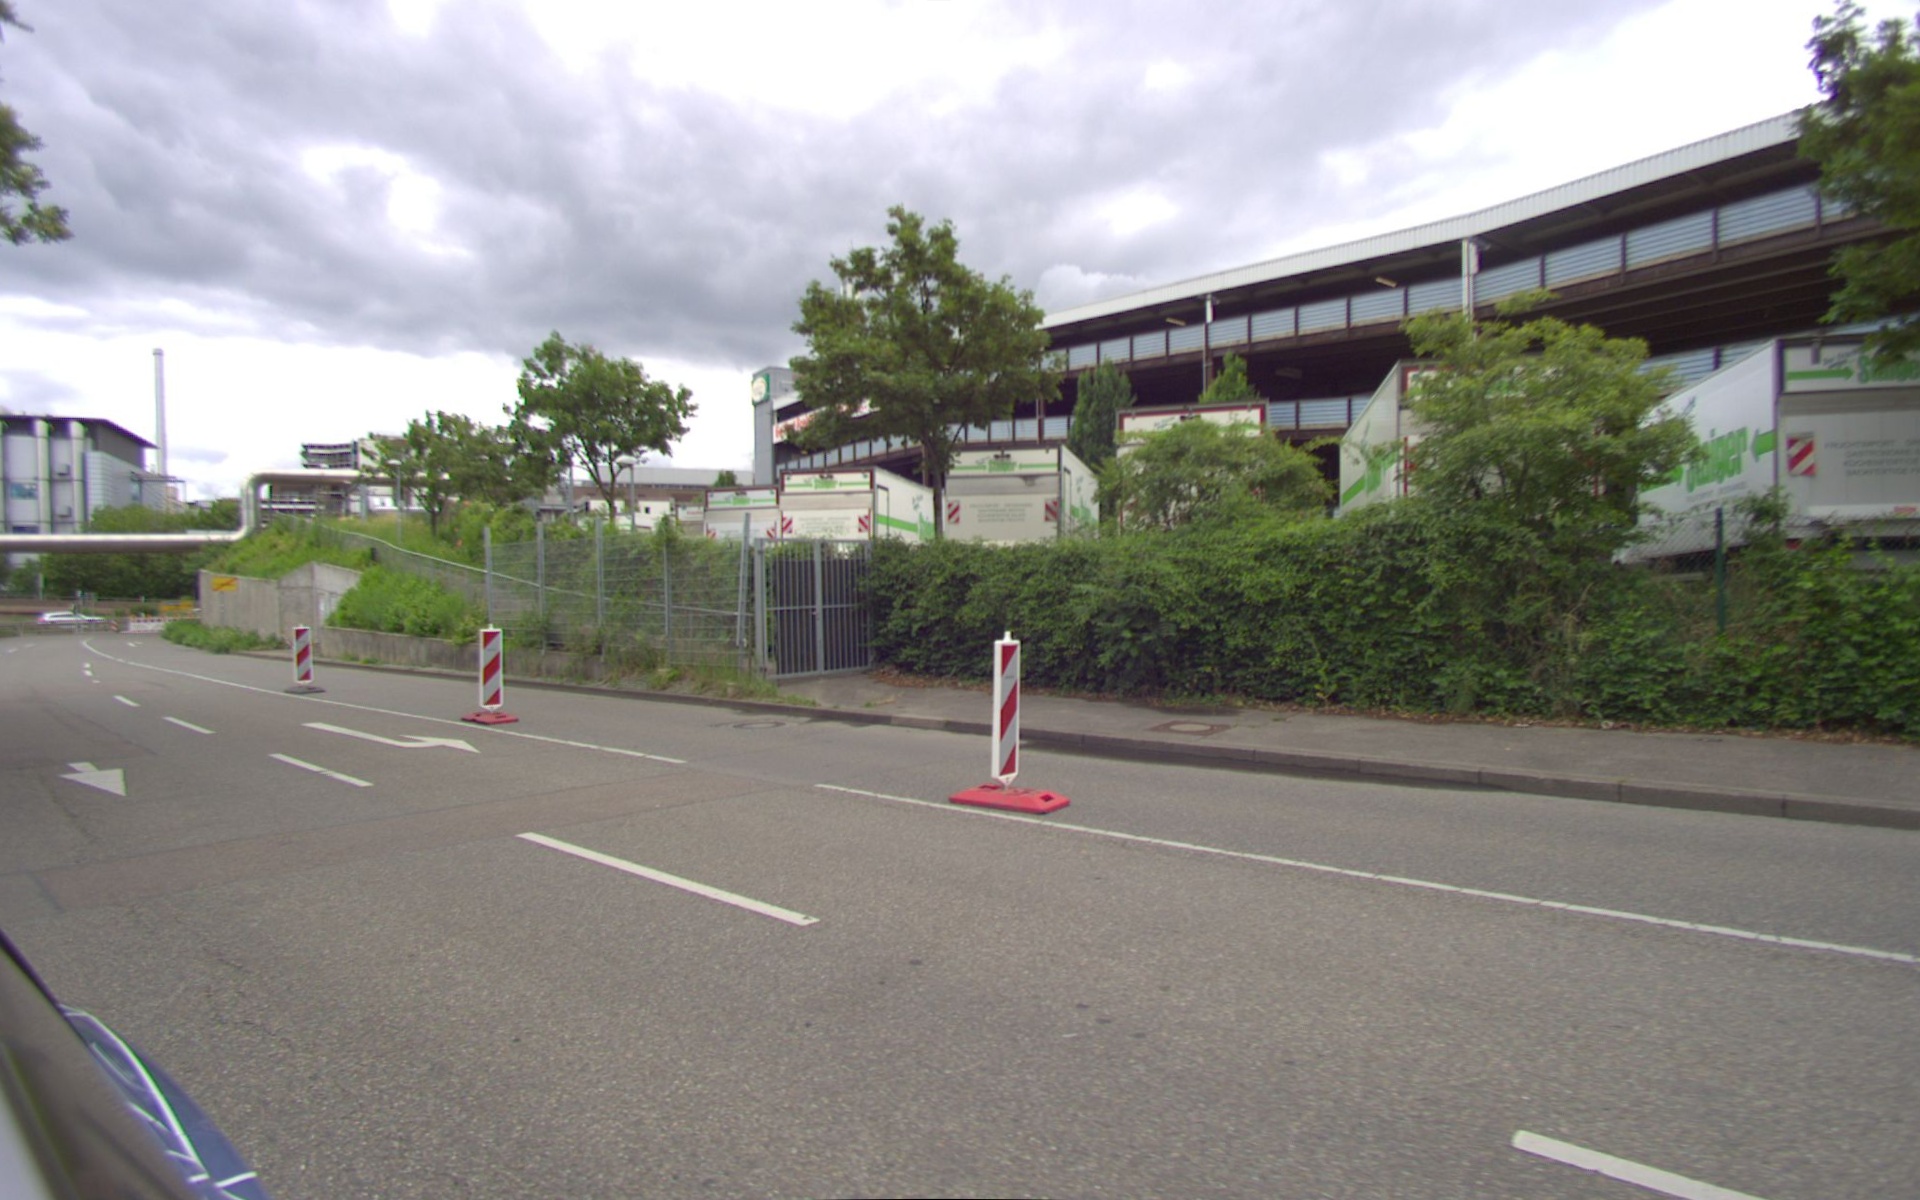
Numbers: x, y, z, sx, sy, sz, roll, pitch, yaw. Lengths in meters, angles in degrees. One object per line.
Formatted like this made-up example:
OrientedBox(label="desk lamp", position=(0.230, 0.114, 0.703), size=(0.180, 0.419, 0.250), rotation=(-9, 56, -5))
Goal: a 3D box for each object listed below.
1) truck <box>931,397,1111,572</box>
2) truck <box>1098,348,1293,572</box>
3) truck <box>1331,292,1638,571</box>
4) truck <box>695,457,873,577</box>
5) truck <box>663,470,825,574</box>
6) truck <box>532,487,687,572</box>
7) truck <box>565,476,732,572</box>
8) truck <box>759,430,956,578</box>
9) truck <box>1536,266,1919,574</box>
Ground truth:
OrientedBox(label="truck", position=(1.799, -2.492, 24.915), size=(3.023, 3.564, 7.832), rotation=(1, 2, 14))
OrientedBox(label="truck", position=(5.045, -2.351, 20.355), size=(3.028, 3.564, 7.818), rotation=(1, 2, 19))
OrientedBox(label="truck", position=(8.244, -2.281, 17.158), size=(3.025, 3.564, 7.826), rotation=(1, 2, 16))
OrientedBox(label="truck", position=(-5.648, -2.583, 34.162), size=(3.023, 3.564, 7.832), rotation=(1, 2, 14))
OrientedBox(label="truck", position=(-8.049, -2.819, 38.997), size=(3.023, 3.564, 7.832), rotation=(1, 2, 14))
OrientedBox(label="truck", position=(-15.912, -3.086, 46.715), size=(3.023, 3.564, 7.832), rotation=(1, 2, 14))
OrientedBox(label="truck", position=(-12.621, -2.954, 41.875), size=(3.023, 3.564, 7.832), rotation=(1, 2, 14))
OrientedBox(label="truck", position=(-2.571, -2.444, 28.735), size=(3.023, 3.564, 8.119), rotation=(1, 2, 14))
OrientedBox(label="truck", position=(11.150, -2.027, 14.633), size=(3.025, 3.274, 7.826), rotation=(1, 2, 16))
